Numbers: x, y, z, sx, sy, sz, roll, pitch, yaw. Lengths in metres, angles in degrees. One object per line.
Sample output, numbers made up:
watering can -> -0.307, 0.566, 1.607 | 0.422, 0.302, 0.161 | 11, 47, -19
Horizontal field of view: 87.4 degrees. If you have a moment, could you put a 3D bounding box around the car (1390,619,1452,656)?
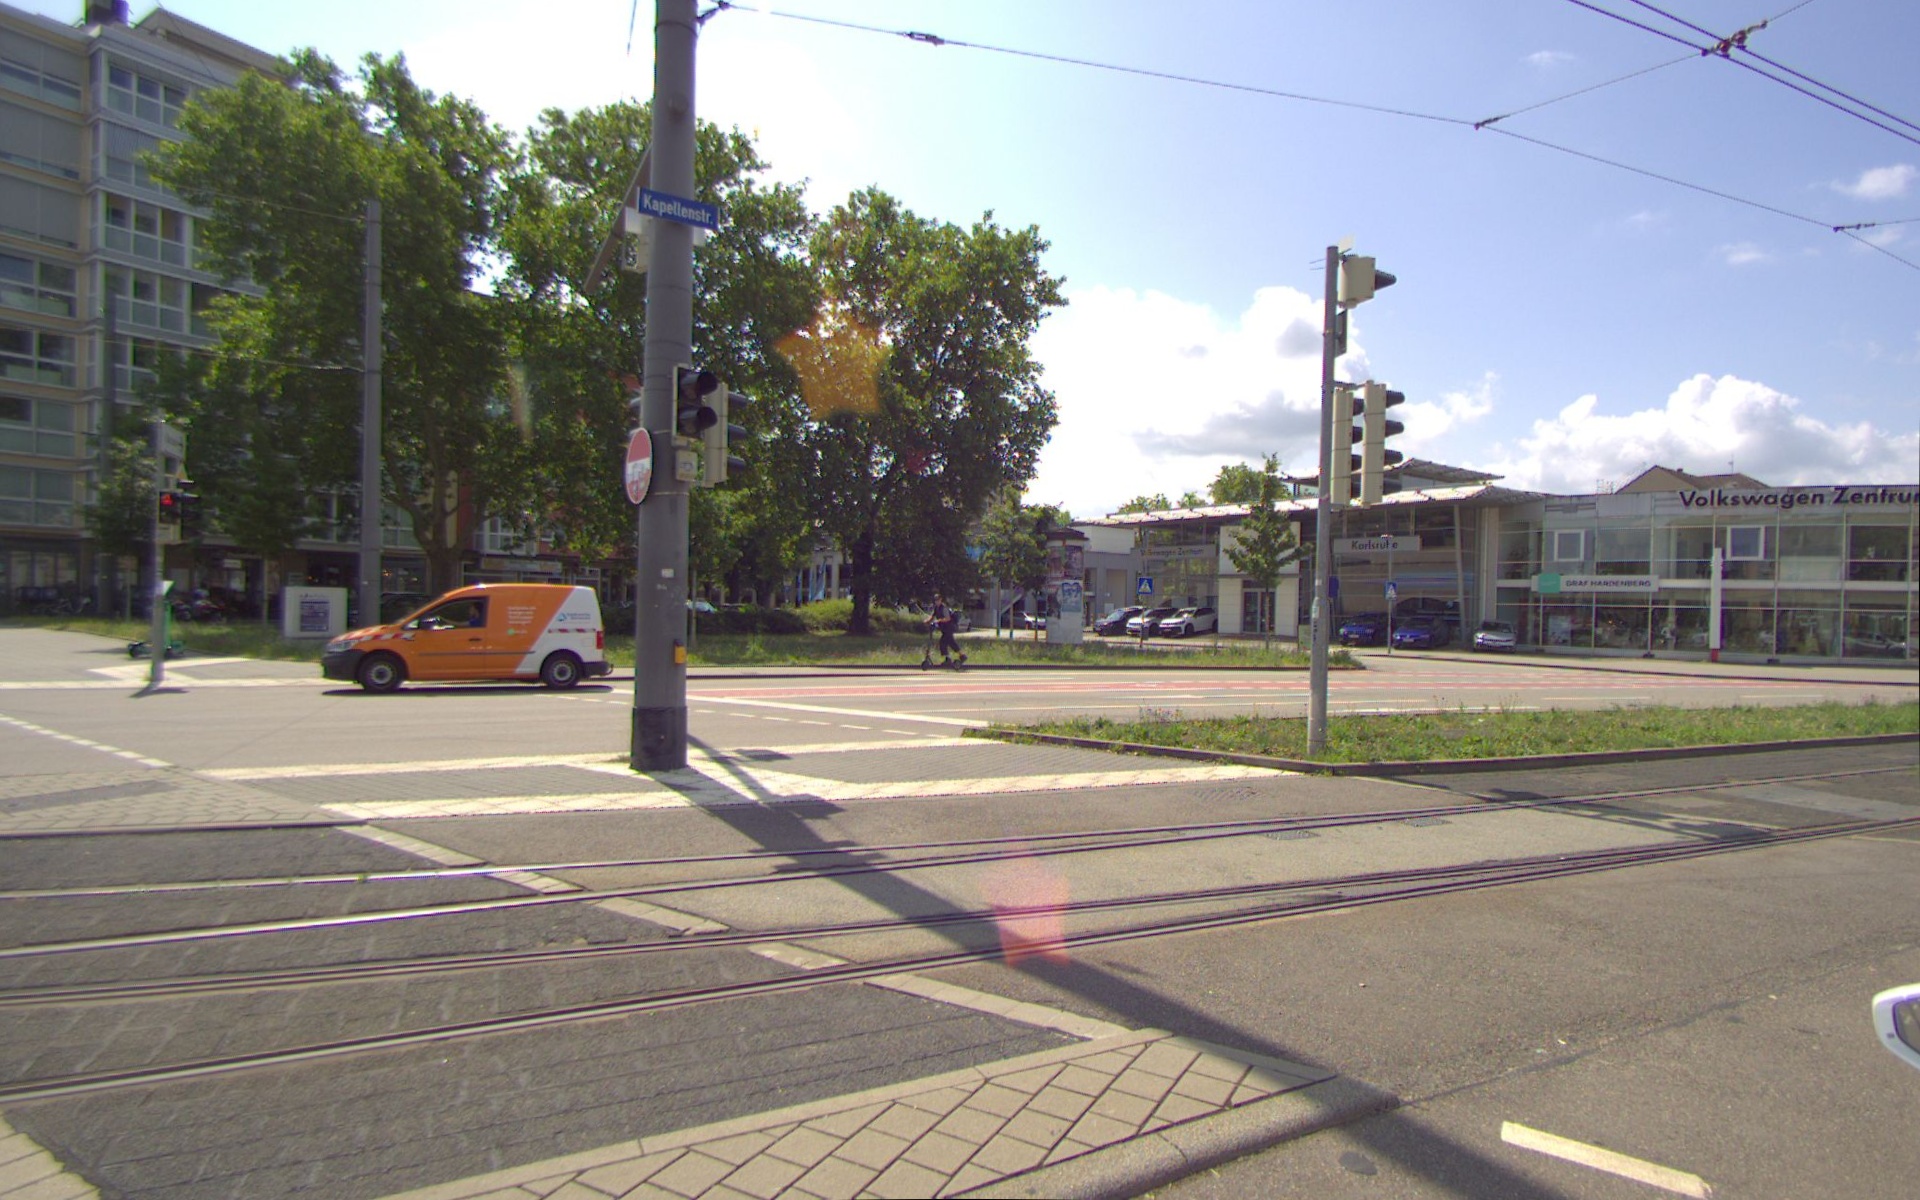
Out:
car -> 21.895, 1.742, 47.616 | 1.636, 1.494, 3.767 | 1, 2, 42

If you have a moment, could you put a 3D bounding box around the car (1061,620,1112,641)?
car -> 8.241, 1.972, 65.324 | 1.535, 1.262, 3.620 | 1, -1, 42

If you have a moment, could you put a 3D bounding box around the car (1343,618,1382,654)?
car -> 20.091, 1.749, 50.213 | 1.742, 1.695, 3.639 | 1, -1, 21

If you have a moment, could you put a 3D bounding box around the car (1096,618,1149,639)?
car -> 10.275, 1.804, 63.375 | 1.535, 1.262, 3.620 | 1, -1, 42

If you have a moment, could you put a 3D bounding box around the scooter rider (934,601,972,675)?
scooter rider -> -0.178, 0.910, 24.276 | 0.640, 1.730, 0.775 | 1, 0, -25

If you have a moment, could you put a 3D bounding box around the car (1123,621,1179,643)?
car -> 11.742, 1.946, 61.675 | 3.615, 1.262, 1.537 | 2, -1, -44

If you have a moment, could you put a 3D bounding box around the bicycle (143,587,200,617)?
bicycle -> -29.237, 0.091, 37.271 | 0.485, 1.080, 1.597 | 1, 0, 34

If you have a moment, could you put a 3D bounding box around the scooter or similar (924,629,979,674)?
scooter or similar -> -0.201, 1.241, 24.265 | 1.078, 1.046, 0.801 | 2, 0, -25

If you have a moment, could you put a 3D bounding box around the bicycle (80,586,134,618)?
bicycle -> -34.676, 0.095, 40.842 | 0.485, 1.281, 1.597 | 1, 0, 34

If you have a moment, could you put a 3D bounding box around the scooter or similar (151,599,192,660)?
scooter or similar -> -15.814, 0.589, 20.158 | 0.542, 1.216, 0.460 | 1, 0, -26

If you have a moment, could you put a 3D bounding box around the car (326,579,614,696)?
car -> -8.201, 0.613, 17.086 | 4.187, 1.789, 1.759 | 1, -1, -27

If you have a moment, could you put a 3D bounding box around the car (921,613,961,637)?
car -> -1.493, 1.851, 75.670 | 1.968, 1.639, 3.985 | 2, -1, -17

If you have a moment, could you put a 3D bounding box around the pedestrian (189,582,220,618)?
pedestrian -> -28.286, -0.007, 37.622 | 0.552, 1.344, 0.759 | 1, 0, 30

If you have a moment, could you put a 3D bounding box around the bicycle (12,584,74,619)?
bicycle -> -34.055, 0.069, 37.318 | 0.485, 1.281, 1.597 | 1, 0, 34

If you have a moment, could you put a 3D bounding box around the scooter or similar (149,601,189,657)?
scooter or similar -> -16.234, 0.594, 20.630 | 0.549, 1.140, 0.414 | 1, 0, -26

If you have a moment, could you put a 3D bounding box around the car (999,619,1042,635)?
car -> 5.235, 2.295, 86.882 | 3.590, 1.262, 1.548 | 1, -1, 45

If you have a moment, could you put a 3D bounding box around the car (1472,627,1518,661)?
car -> 24.952, 2.003, 46.797 | 1.802, 1.466, 3.940 | 1, -1, 29

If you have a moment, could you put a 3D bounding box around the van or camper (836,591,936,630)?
van or camper -> -5.165, 0.770, 70.418 | 6.619, 2.532, 2.553 | 2, 0, -36

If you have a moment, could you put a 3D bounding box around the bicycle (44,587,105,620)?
bicycle -> -32.912, 0.148, 37.349 | 0.485, 1.183, 1.597 | 1, 0, 34

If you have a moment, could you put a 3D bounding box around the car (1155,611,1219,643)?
car -> 13.529, 1.599, 59.680 | 3.832, 1.798, 1.682 | 2, -1, -39

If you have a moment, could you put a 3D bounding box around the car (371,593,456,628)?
car -> -25.583, 0.481, 46.999 | 3.864, 1.531, 1.875 | 1, 0, 33
